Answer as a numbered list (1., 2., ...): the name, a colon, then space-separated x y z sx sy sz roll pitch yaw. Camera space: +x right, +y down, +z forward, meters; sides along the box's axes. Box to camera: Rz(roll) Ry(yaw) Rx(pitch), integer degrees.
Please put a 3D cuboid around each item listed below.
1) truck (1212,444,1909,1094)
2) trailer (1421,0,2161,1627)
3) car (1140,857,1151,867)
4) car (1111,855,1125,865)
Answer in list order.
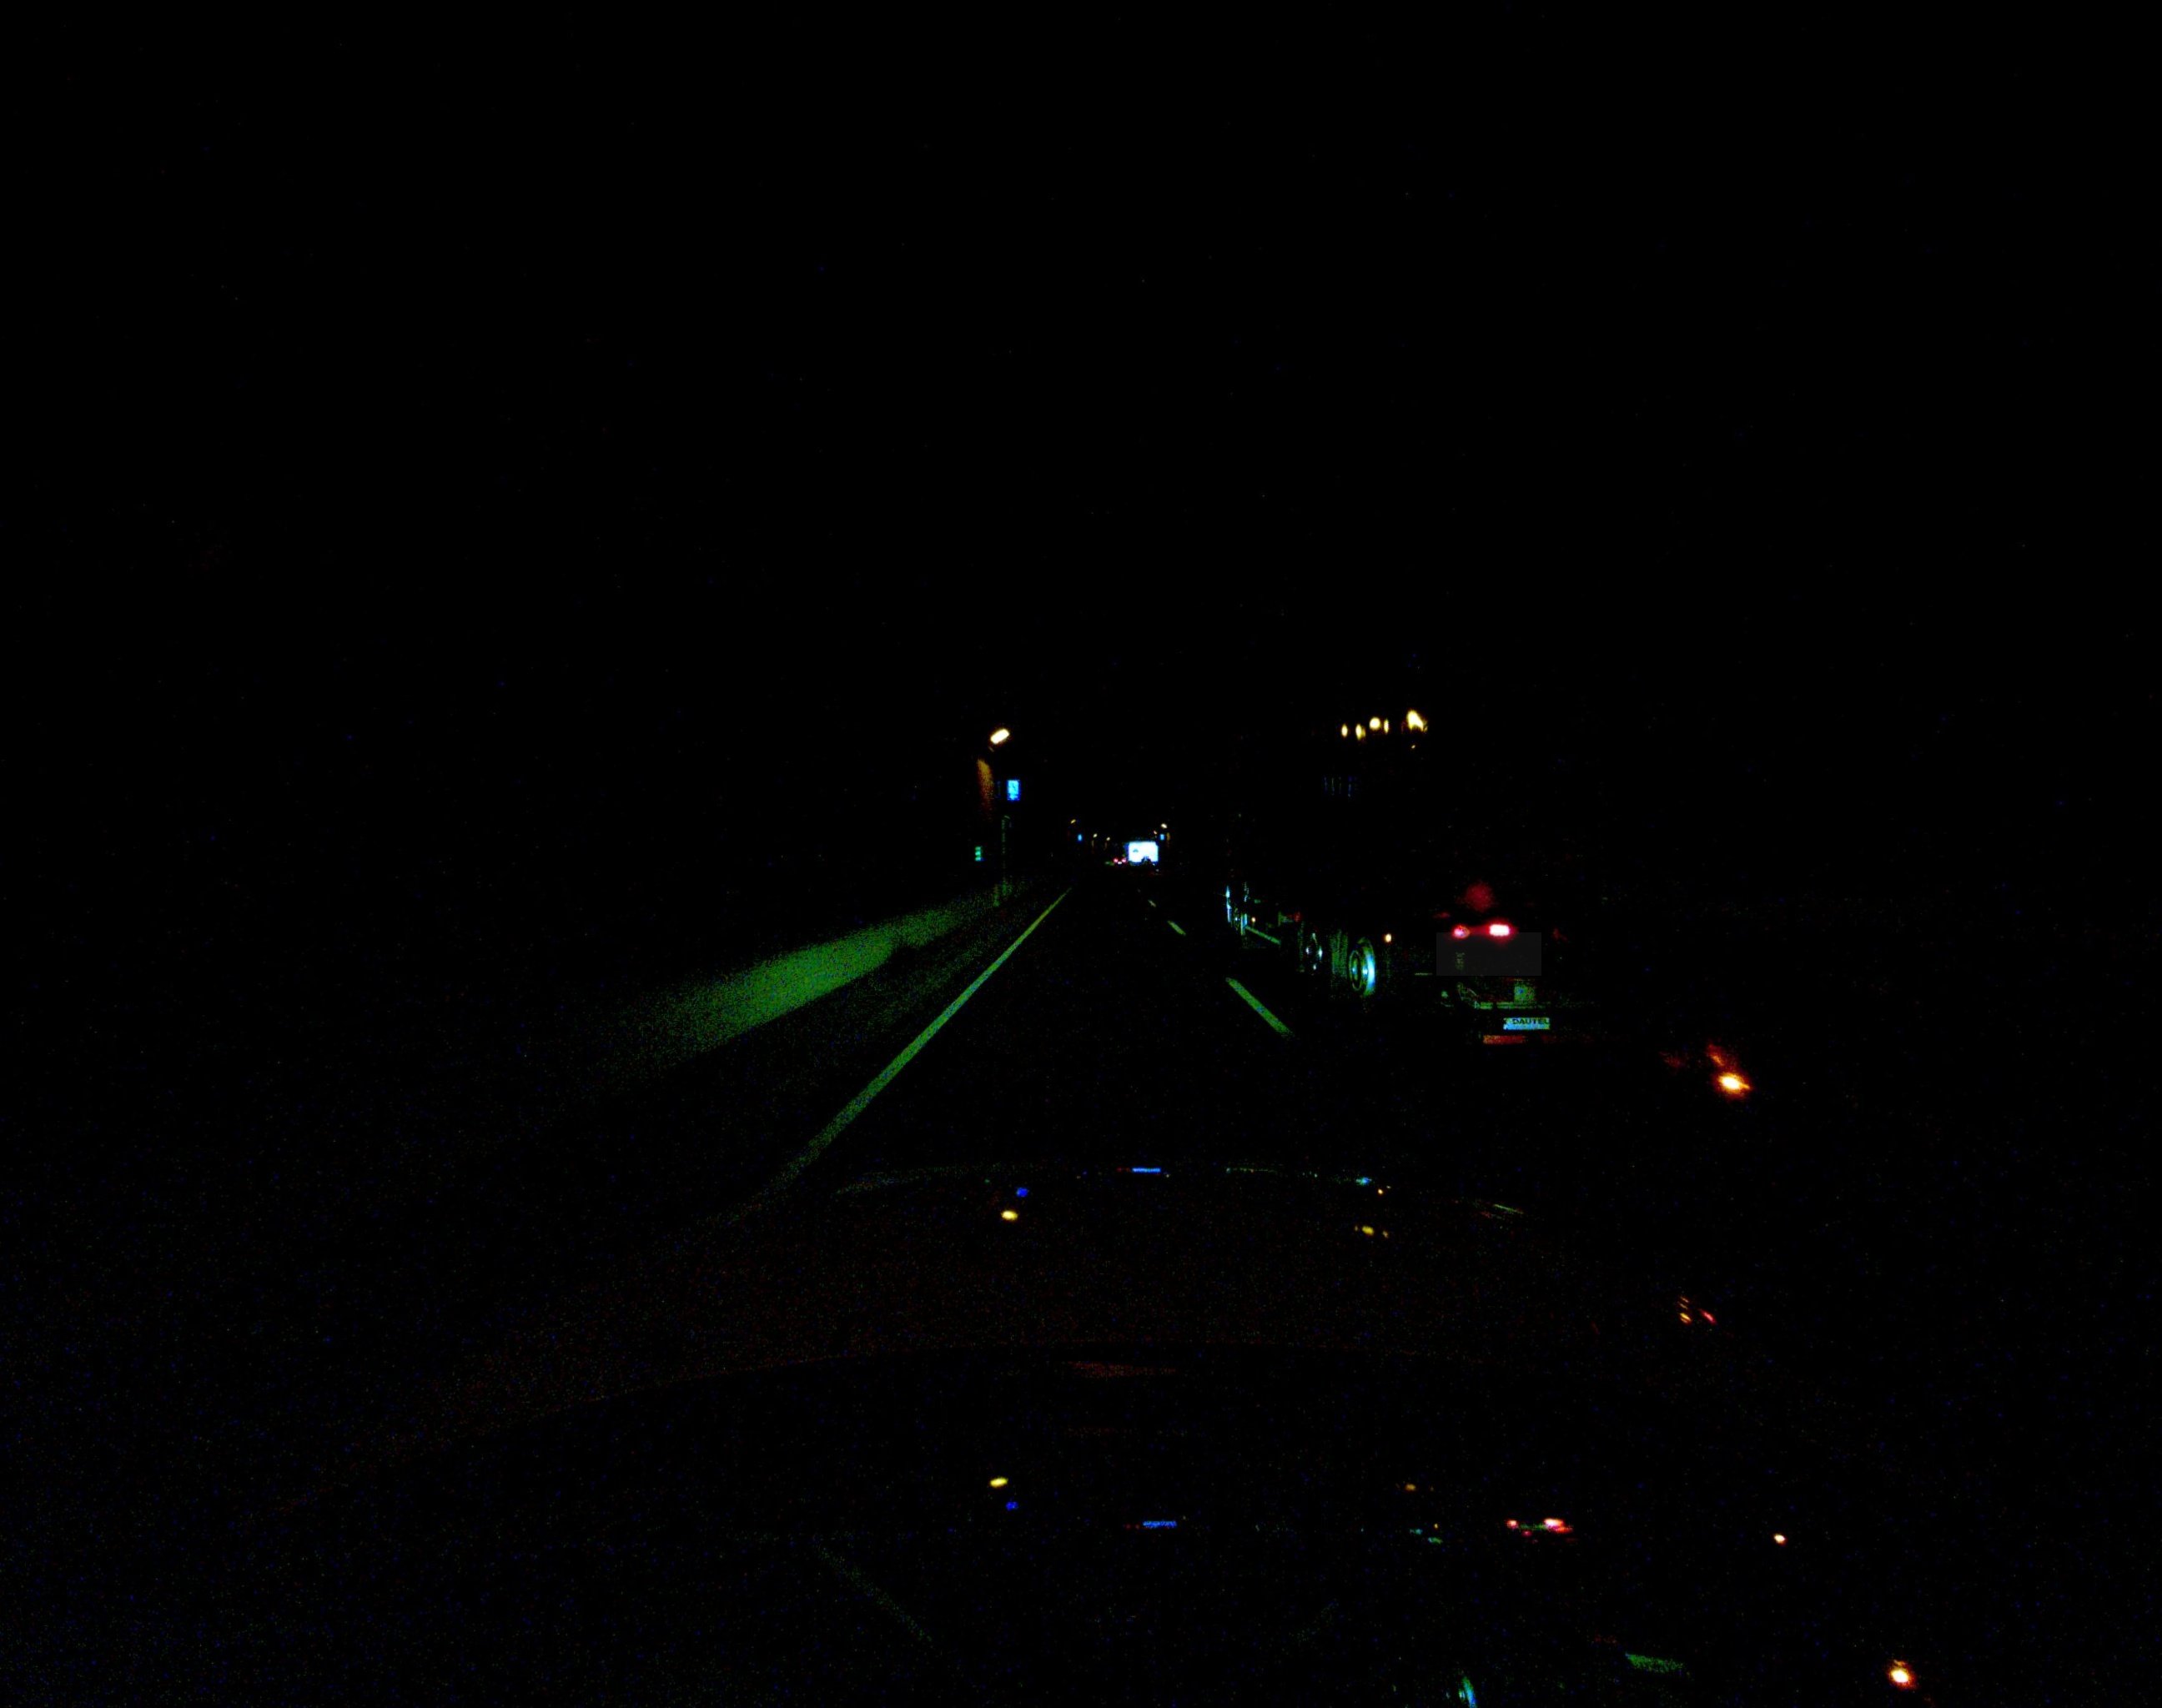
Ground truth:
1. truck: 3.683 -0.493 9.882 2.878 3.913 9.913 0 0 2
2. trailer: 3.350 -0.536 0.427 2.864 3.858 8.951 0 0 2
3. car: 11.579 1.463 145.362 1.860 1.732 4.006 0 -1 6
4. car: 5.749 0.932 126.110 1.830 1.388 4.010 0 -1 9
